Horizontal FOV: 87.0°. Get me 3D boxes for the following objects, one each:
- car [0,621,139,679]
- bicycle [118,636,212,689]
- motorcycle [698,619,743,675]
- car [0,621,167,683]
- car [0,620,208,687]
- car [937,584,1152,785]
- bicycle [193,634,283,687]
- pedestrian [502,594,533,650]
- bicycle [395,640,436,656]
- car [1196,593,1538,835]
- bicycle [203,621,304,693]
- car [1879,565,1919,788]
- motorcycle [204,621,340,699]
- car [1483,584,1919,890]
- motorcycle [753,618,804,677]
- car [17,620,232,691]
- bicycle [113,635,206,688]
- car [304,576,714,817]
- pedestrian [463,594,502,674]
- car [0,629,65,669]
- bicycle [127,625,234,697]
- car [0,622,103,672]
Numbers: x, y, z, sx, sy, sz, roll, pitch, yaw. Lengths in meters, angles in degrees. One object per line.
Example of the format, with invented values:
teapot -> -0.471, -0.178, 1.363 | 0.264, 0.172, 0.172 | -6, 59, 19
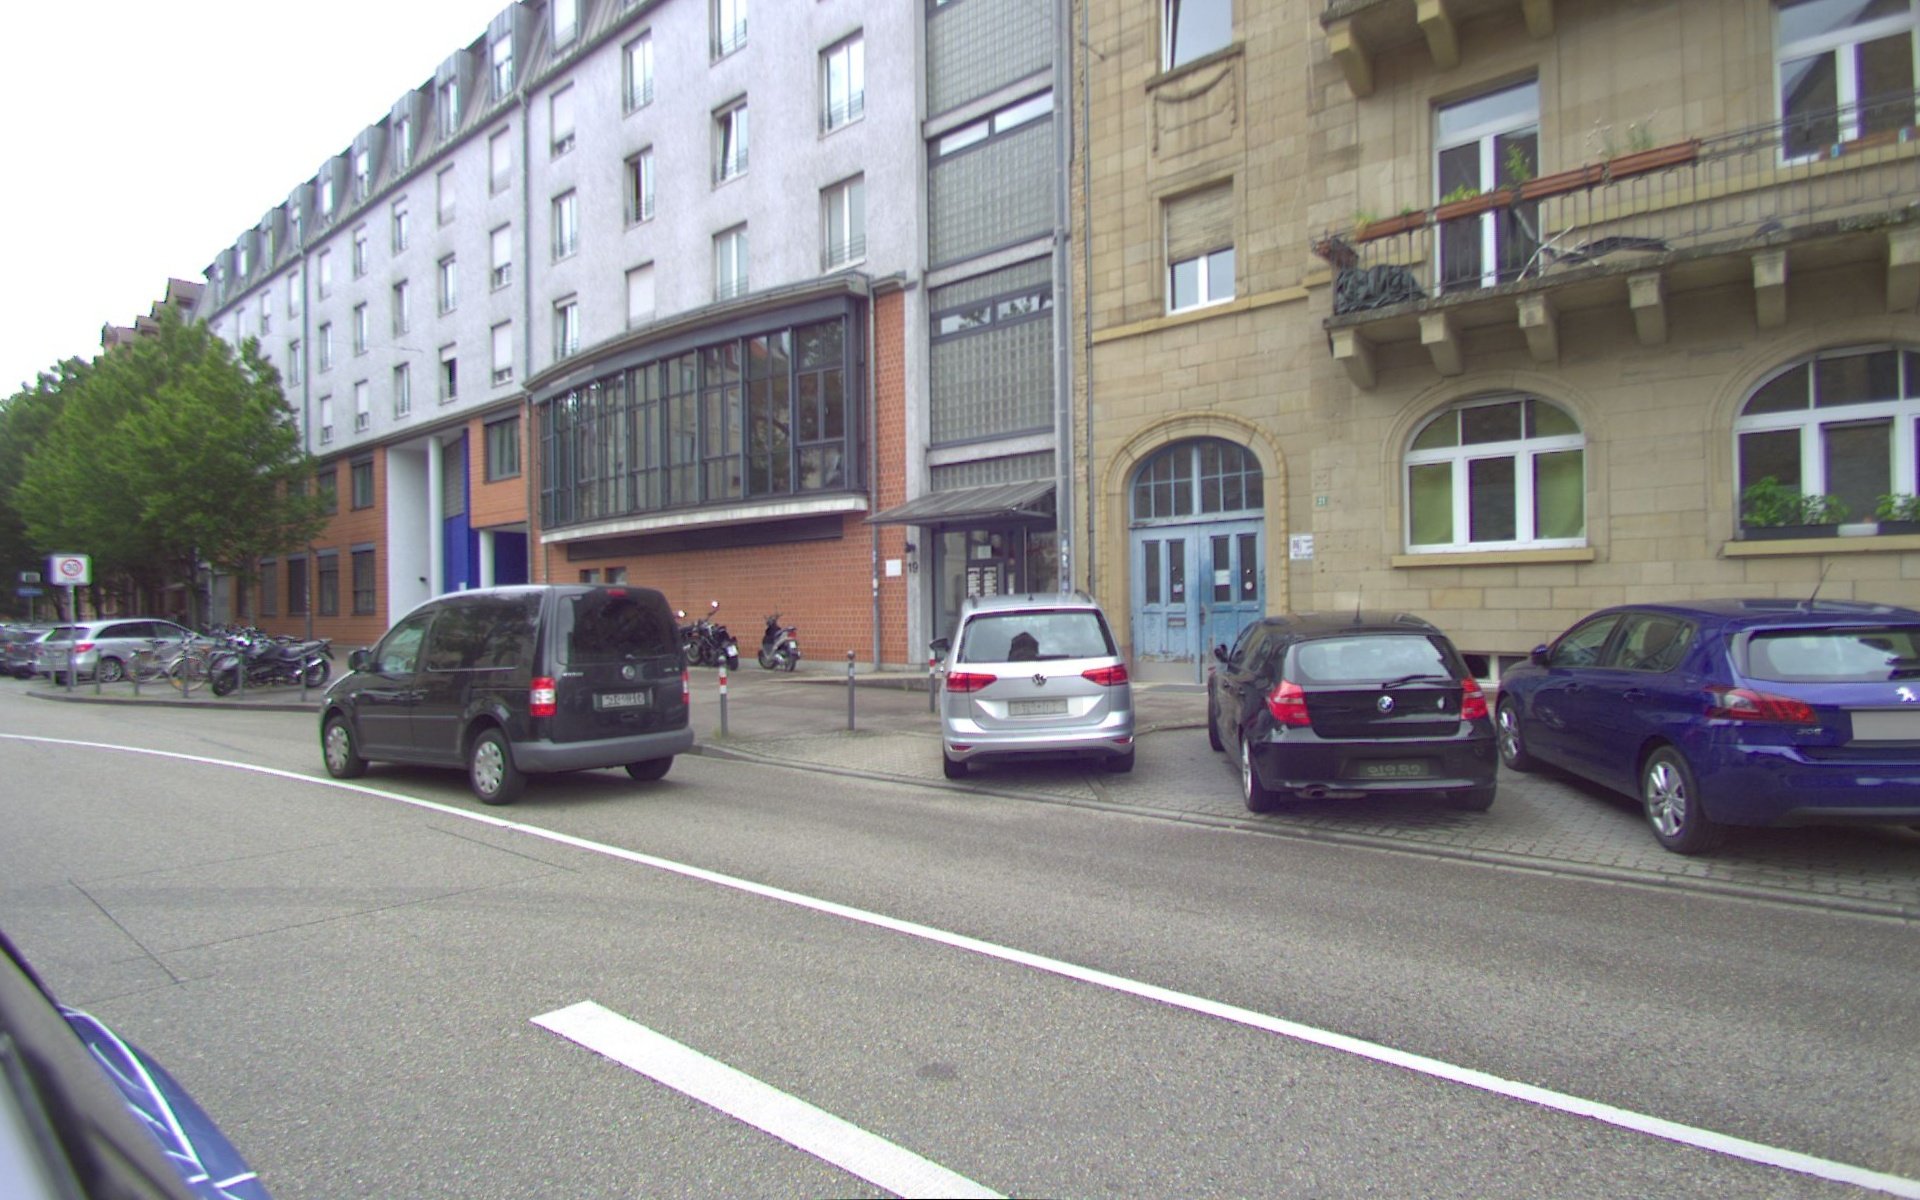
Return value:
car -> -28.169, 1.491, 31.243 | 1.983, 1.641, 3.977 | -1, -1, 18
bicycle -> -18.059, 1.397, 23.024 | 0.416, 1.082, 1.610 | -2, 1, 39
motorcycle -> -4.949, 0.946, 20.833 | 0.438, 1.106, 1.768 | 0, -1, -29
car -> -25.948, 1.451, 29.584 | 1.983, 1.641, 3.977 | -1, -1, 18
car -> -23.304, 1.405, 27.733 | 1.983, 1.641, 3.977 | -1, -1, 18
car -> 0.736, 0.672, 10.355 | 1.710, 1.565, 3.999 | -2, 1, 1
bicycle -> -16.557, 1.372, 23.229 | 0.416, 1.082, 1.610 | -2, 1, 39
pedestrian -> -13.384, 0.664, 30.608 | 0.622, 1.662, 0.677 | -1, 0, 42
bicycle -> -16.666, 1.475, 30.970 | 0.527, 0.440, 0.997 | 1, 0, 42
car -> 3.057, 0.738, 8.481 | 1.713, 1.449, 3.990 | -2, 1, 9
bicycle -> -14.387, 1.138, 20.643 | 0.416, 1.363, 1.610 | -2, 1, 39
car -> 7.518, 0.548, 5.383 | 1.681, 1.565, 3.997 | -2, 1, 3
motorcycle -> -13.463, 1.134, 19.858 | 0.599, 1.363, 2.096 | -2, 1, 41
car -> 5.192, 0.677, 6.915 | 1.804, 1.456, 3.737 | -2, 1, 10
motorcycle -> -3.596, 0.909, 19.936 | 0.438, 1.106, 1.768 | 0, -1, -29
car -> -21.294, 1.359, 25.992 | 1.758, 1.641, 3.977 | -1, -1, 18
bicycle -> -18.438, 1.400, 23.331 | 0.416, 1.082, 1.610 | -2, 1, 39
car -> -4.351, 0.777, 9.532 | 4.120, 1.817, 1.679 | -1, -2, 35
pedestrian -> -11.187, 0.785, 23.725 | 0.641, 1.837, 0.613 | -2, -1, 41
car -> -37.721, 1.909, 39.410 | 1.723, 1.508, 3.977 | -1, -1, 18
bicycle -> -15.608, 1.197, 20.299 | 0.416, 1.299, 1.610 | -2, 1, 39
car -> -32.651, 1.619, 35.143 | 1.983, 1.641, 3.977 | -1, -1, 18
